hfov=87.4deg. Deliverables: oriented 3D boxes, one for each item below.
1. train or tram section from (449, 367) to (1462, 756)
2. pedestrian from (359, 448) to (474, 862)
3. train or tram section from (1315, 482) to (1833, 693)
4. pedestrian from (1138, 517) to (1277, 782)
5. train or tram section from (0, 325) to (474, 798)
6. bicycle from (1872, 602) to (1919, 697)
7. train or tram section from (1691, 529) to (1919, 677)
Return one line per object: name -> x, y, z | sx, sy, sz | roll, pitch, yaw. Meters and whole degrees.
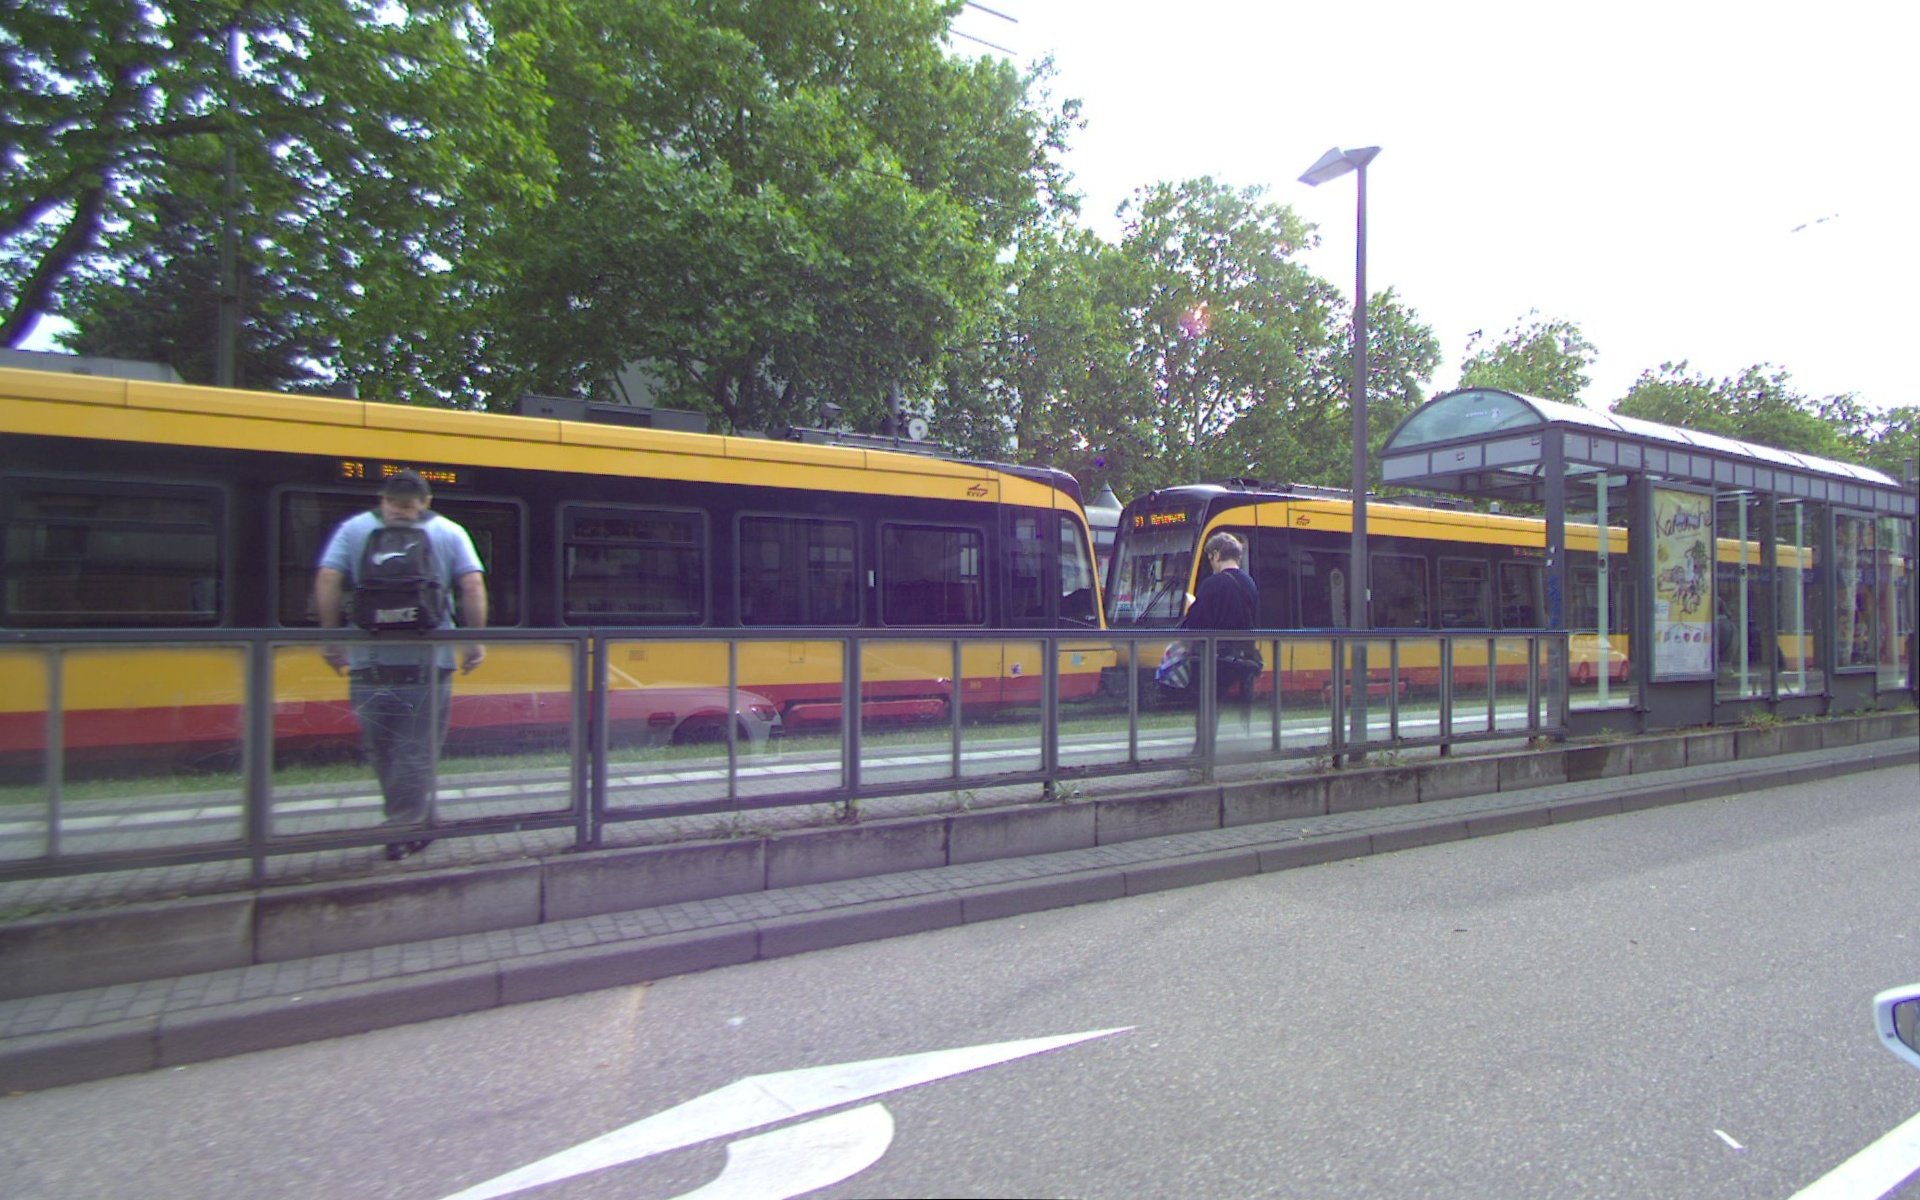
train or tram section -> 1.220, -0.213, 14.448 | 15.117, 3.579, 3.045 | 1, 0, -31
pedestrian -> -2.332, 0.224, 4.321 | 0.387, 1.654, 0.477 | 1, 0, -29
train or tram section -> 14.224, -0.069, 22.190 | 15.117, 3.579, 3.045 | 1, 0, -31
pedestrian -> 1.643, 0.314, 6.679 | 0.721, 1.654, 0.510 | 1, 0, -29
train or tram section -> -11.954, -0.391, 6.582 | 15.589, 3.579, 3.045 | 1, 0, -31
bicycle -> 12.958, 0.662, 13.691 | 1.275, 1.238, 0.416 | 1, 0, -31
train or tram section -> 27.432, 0.216, 30.070 | 15.665, 3.636, 3.045 | 1, 0, -31
